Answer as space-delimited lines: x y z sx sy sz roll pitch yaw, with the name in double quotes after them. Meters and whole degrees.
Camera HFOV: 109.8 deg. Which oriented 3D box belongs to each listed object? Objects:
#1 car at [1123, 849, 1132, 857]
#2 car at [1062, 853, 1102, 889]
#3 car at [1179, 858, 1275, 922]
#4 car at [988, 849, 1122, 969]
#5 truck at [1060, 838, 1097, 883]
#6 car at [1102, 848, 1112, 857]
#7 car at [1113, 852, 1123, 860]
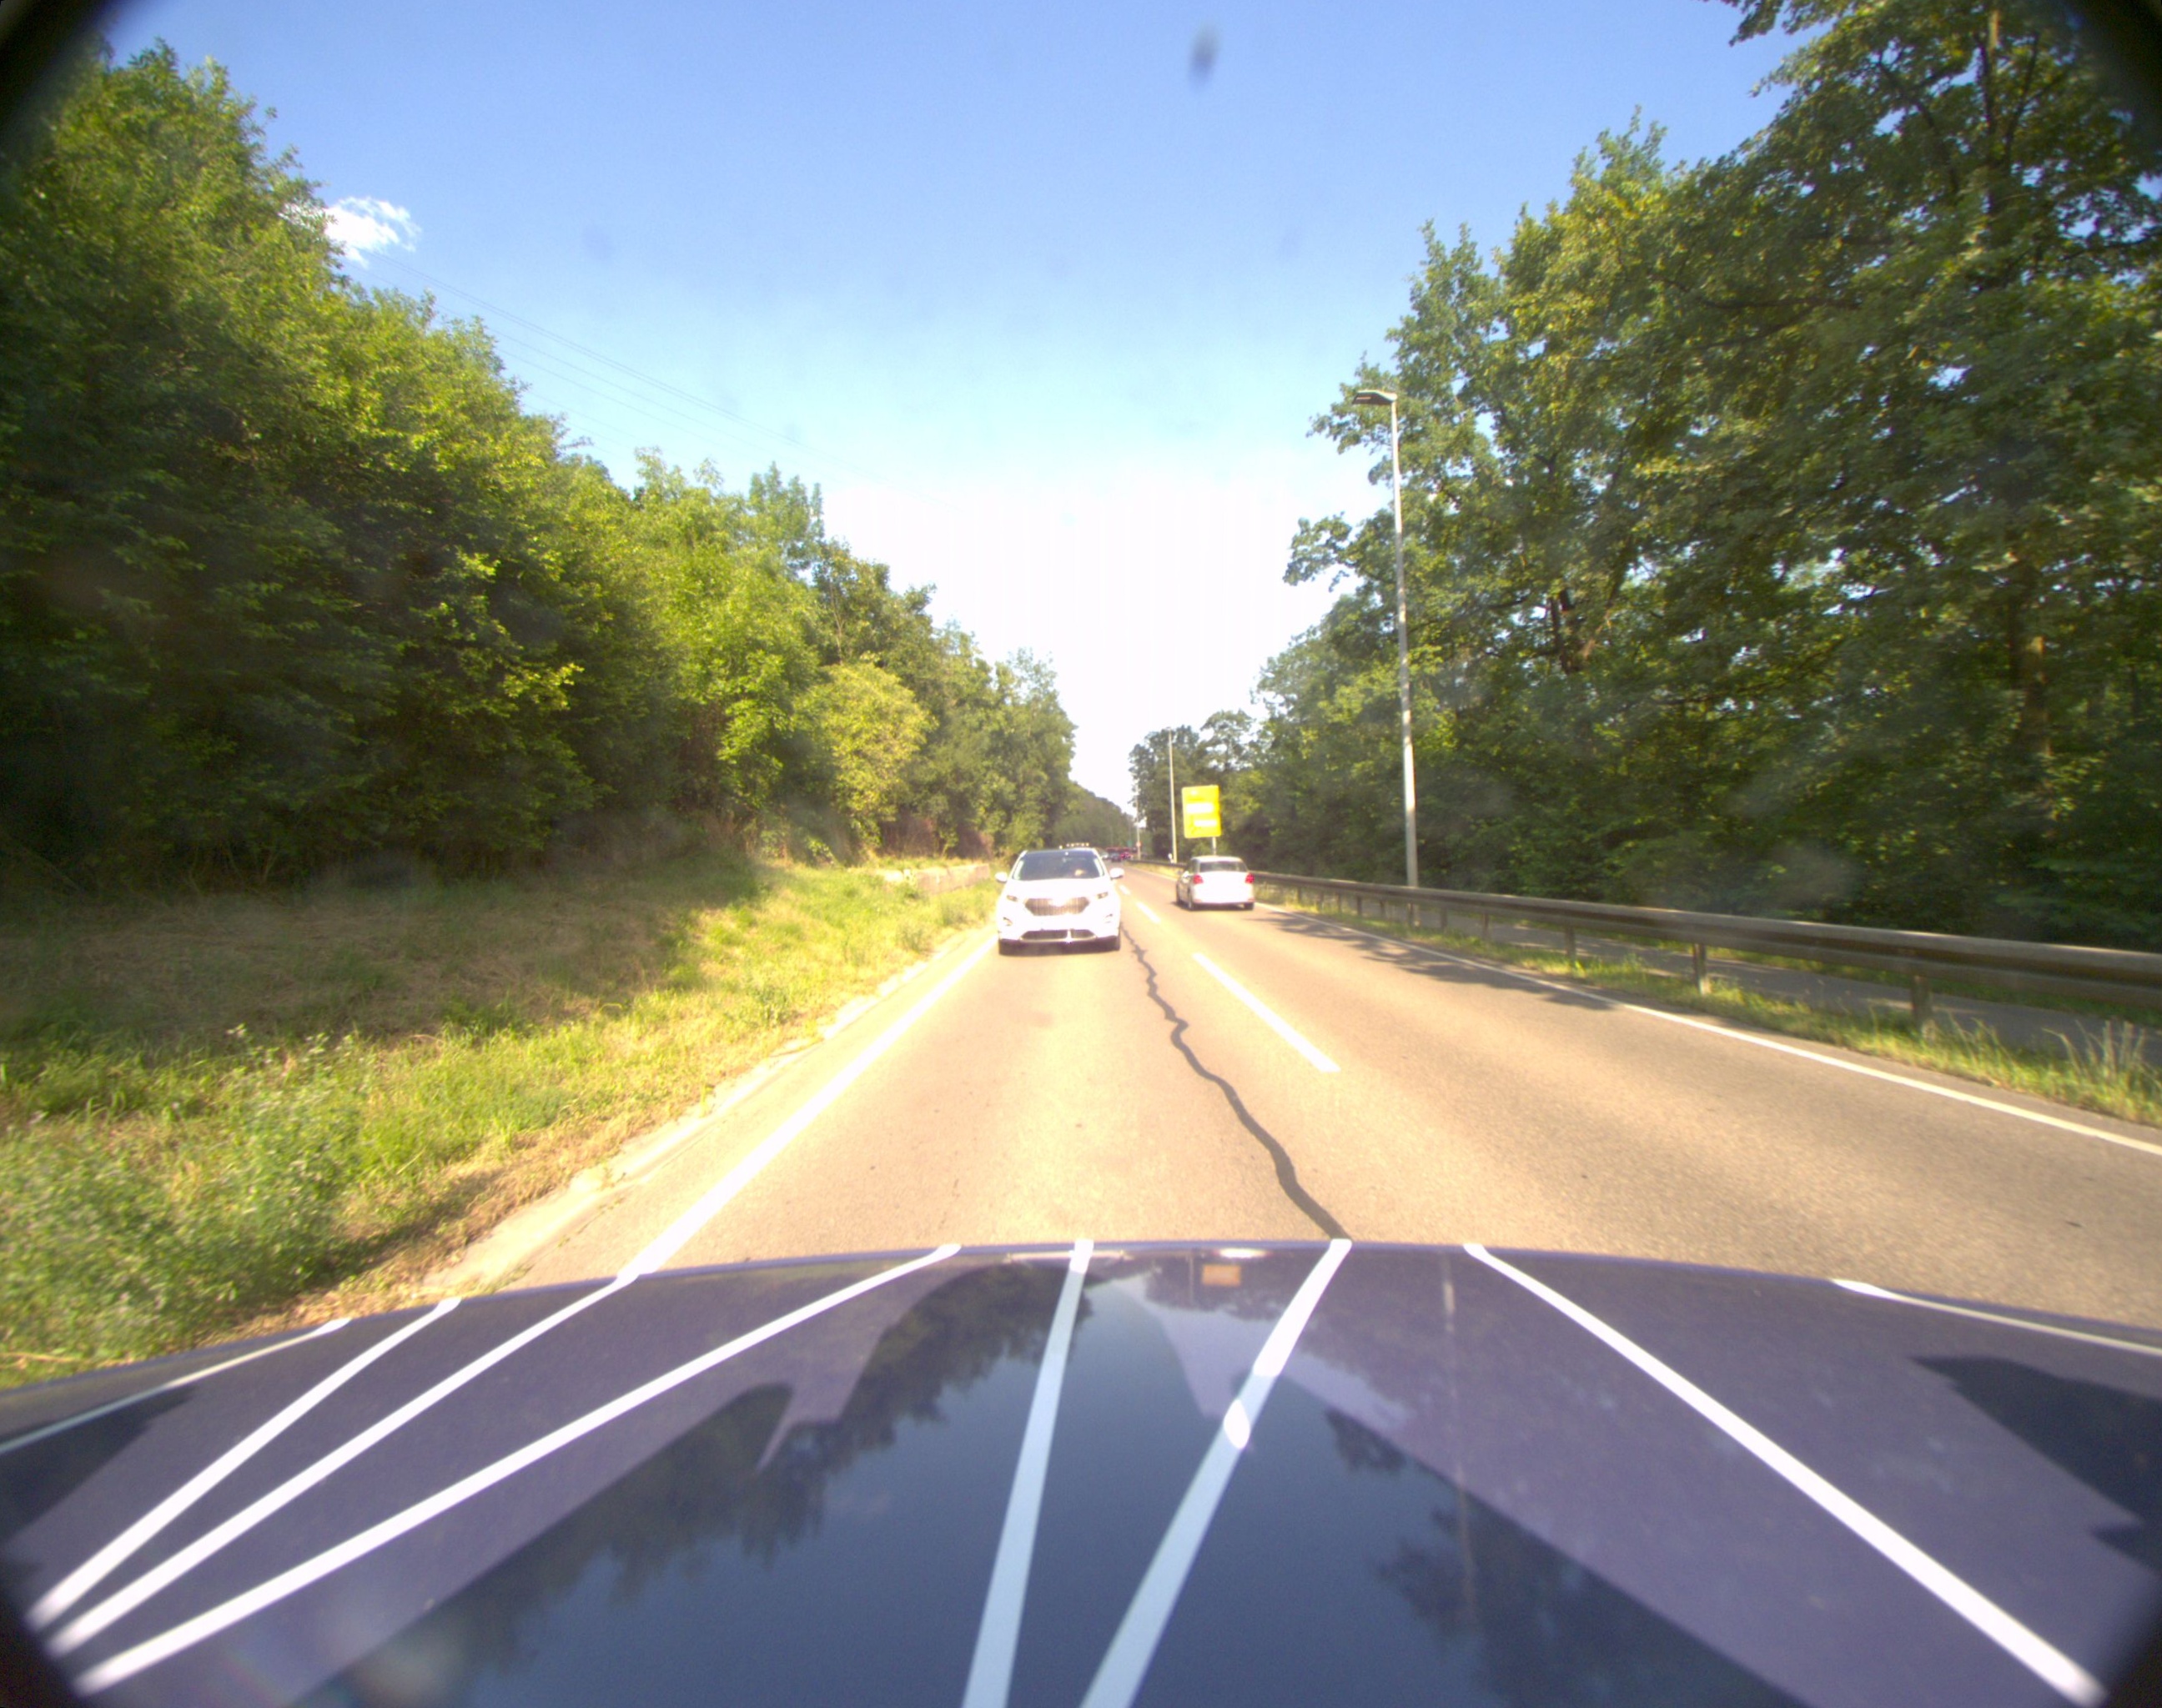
10.521 -0.325 172.046 1.752 1.707 4.222 -2 0 3 "car"
0.077 0.743 35.679 1.704 1.477 4.136 -3 0 1 "car"
3.554 0.824 19.126 1.627 1.369 4.047 -1 0 0 "car"
-0.354 0.796 13.222 1.894 1.691 4.136 -2 0 1 "car"
-0.096 0.336 42.980 1.894 2.334 5.273 -3 0 1 "truck"
6.476 -0.377 186.699 1.997 2.002 4.002 -1 0 8 "car"
6.876 0.280 140.793 1.695 1.412 4.142 0 1 3 "car"
